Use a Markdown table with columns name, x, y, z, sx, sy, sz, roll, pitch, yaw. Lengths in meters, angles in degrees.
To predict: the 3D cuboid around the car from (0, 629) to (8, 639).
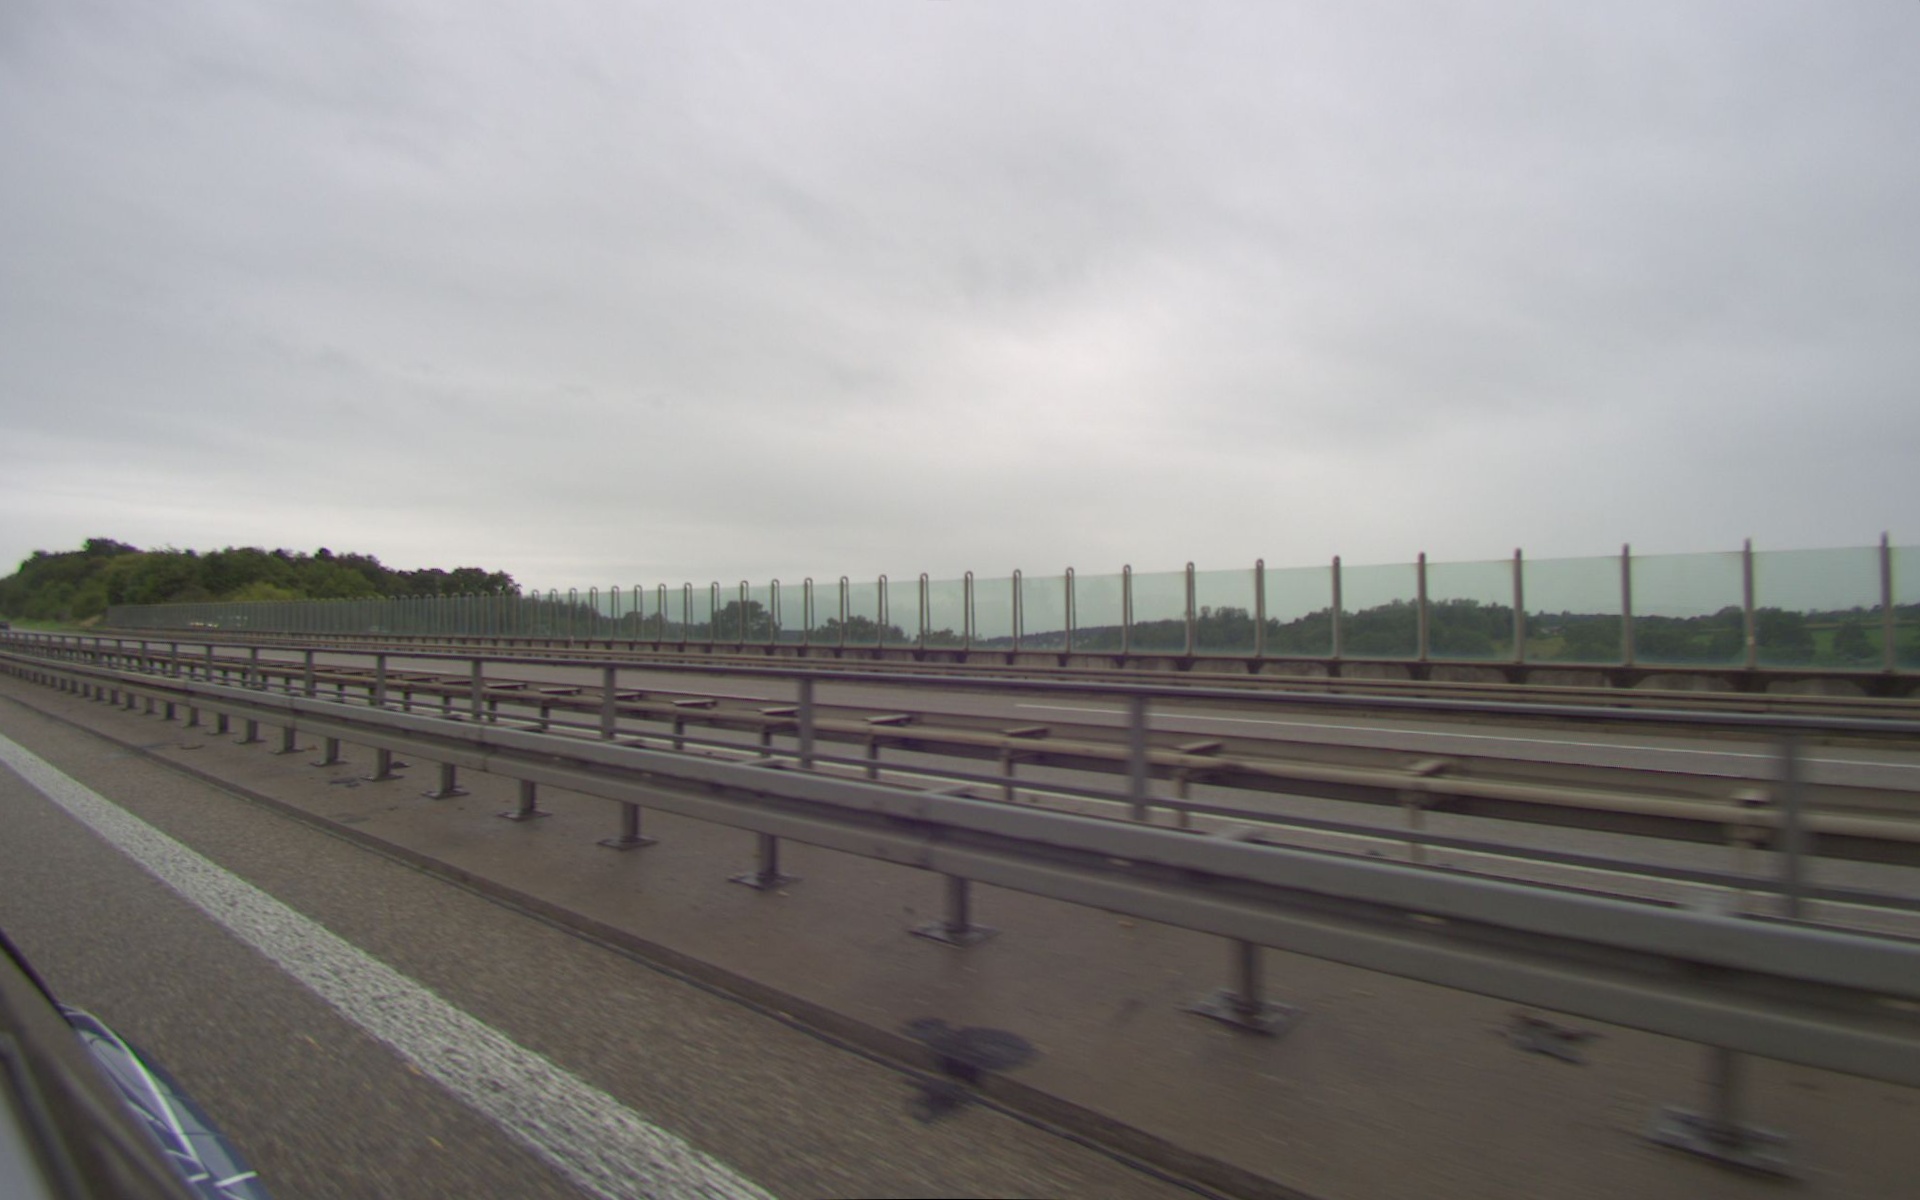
| name | x | y | z | sx | sy | sz | roll | pitch | yaw |
| --- | --- | --- | --- | --- | --- | --- | --- | --- | --- |
| car | -144.801 | 5.101 | 152.507 | 3.858 | 1.508 | 1.666 | -2 | -2 | 42 |
